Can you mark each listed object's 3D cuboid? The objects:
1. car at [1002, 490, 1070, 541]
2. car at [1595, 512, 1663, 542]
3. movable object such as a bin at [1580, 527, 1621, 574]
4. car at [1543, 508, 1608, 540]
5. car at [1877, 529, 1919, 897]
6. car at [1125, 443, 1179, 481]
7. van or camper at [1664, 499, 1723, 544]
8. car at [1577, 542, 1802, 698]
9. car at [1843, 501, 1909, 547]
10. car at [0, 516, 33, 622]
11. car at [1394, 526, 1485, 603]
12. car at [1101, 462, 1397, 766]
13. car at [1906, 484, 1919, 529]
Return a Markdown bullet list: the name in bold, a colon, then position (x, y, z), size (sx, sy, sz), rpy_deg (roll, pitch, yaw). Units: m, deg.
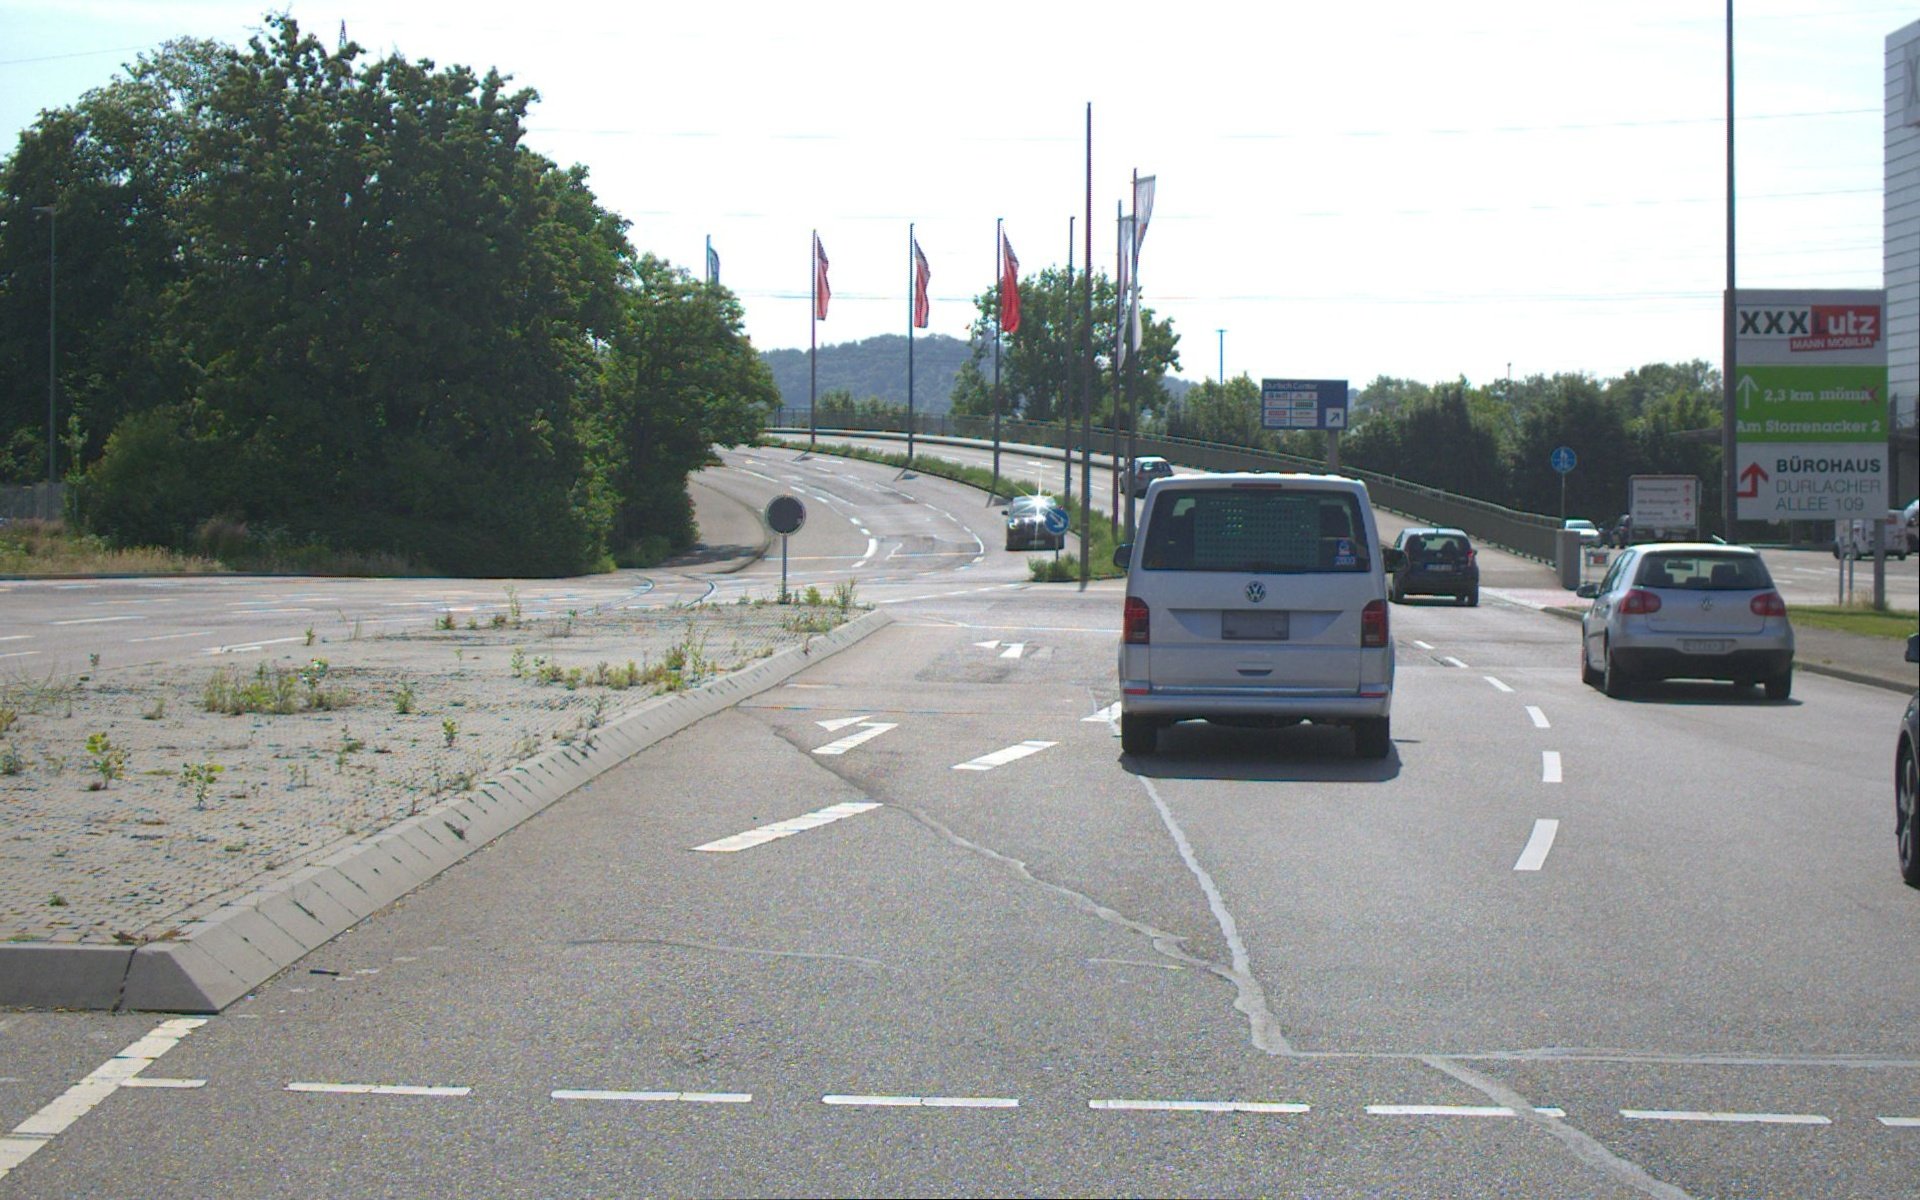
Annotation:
- **car**: position (2.510, -2.775, 112.227), size (1.916, 1.601, 4.271), rpy_deg (1, 2, 5)
- **car**: position (33.677, -3.694, 173.119), size (1.993, 1.415, 4.001), rpy_deg (3, 1, -10)
- **movable object such as a bin**: position (15.392, -1.194, 82.634), size (0.810, 1.109, 1.182), rpy_deg (1, 2, 4)
- **car**: position (30.962, -3.846, 173.049), size (1.883, 1.514, 4.001), rpy_deg (3, 1, -10)
- **car**: position (4.815, 0.523, 13.431), size (1.774, 1.533, 4.137), rpy_deg (2, 2, 7)
- **car**: position (7.939, -5.714, 142.725), size (1.530, 1.474, 3.426), rpy_deg (2, 1, -9)
- **van or camper**: position (39.215, -4.188, 183.723), size (2.101, 2.171, 5.432), rpy_deg (3, 1, 22)
- **car**: position (7.101, 0.149, 33.751), size (1.667, 1.409, 3.682), rpy_deg (1, 1, 5)
- **car**: position (36.397, -3.038, 136.666), size (1.673, 1.745, 4.093), rpy_deg (1, 2, 3)
- **car**: position (-14.229, -0.428, 46.375), size (1.782, 1.455, 4.332), rpy_deg (0, 0, 8)
- **car**: position (9.659, -0.740, 69.466), size (1.531, 1.474, 3.595), rpy_deg (2, 1, 4)
- **car**: position (2.068, 0.022, 24.692), size (1.917, 1.968, 4.297), rpy_deg (1, 2, 5)
- **car**: position (42.724, -3.951, 146.654), size (4.188, 1.922, 1.776), rpy_deg (1, 2, 2)
